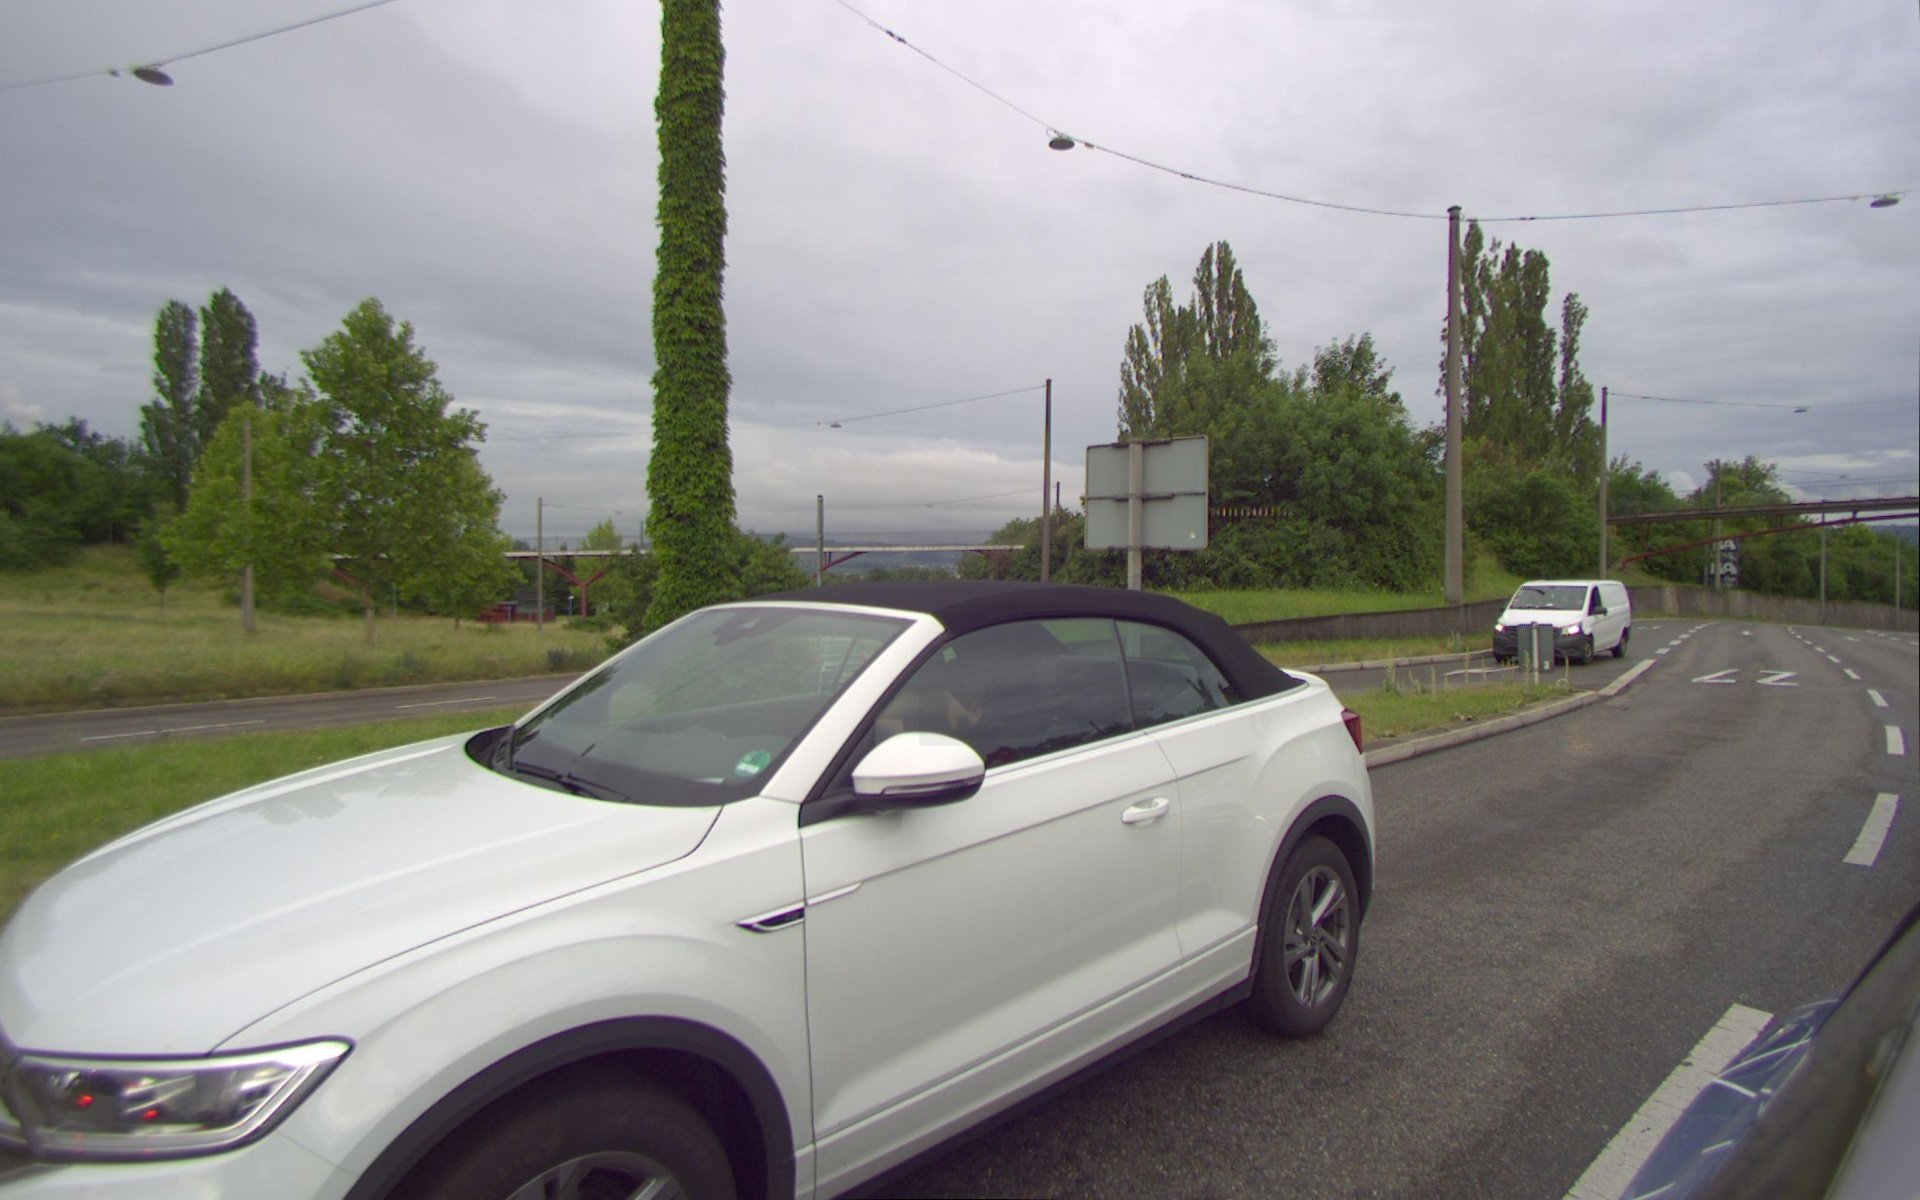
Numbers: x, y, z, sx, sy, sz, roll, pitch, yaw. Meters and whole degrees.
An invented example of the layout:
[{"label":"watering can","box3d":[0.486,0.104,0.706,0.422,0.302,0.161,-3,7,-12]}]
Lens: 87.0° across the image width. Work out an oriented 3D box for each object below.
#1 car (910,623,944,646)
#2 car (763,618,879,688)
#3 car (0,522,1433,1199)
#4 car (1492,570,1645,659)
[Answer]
[{"label":"car","box3d":[-2.416,2.575,75.264,1.673,1.494,4.281,0,1,10]},{"label":"car","box3d":[-3.657,1.439,26.110,1.651,1.440,4.083,5,-9,-27]},{"label":"car","box3d":[-0.244,0.665,3.085,4.160,1.572,1.714,-1,1,-44]},{"label":"car","box3d":[14.395,0.294,23.810,1.994,1.872,4.746,-1,0,45]}]
